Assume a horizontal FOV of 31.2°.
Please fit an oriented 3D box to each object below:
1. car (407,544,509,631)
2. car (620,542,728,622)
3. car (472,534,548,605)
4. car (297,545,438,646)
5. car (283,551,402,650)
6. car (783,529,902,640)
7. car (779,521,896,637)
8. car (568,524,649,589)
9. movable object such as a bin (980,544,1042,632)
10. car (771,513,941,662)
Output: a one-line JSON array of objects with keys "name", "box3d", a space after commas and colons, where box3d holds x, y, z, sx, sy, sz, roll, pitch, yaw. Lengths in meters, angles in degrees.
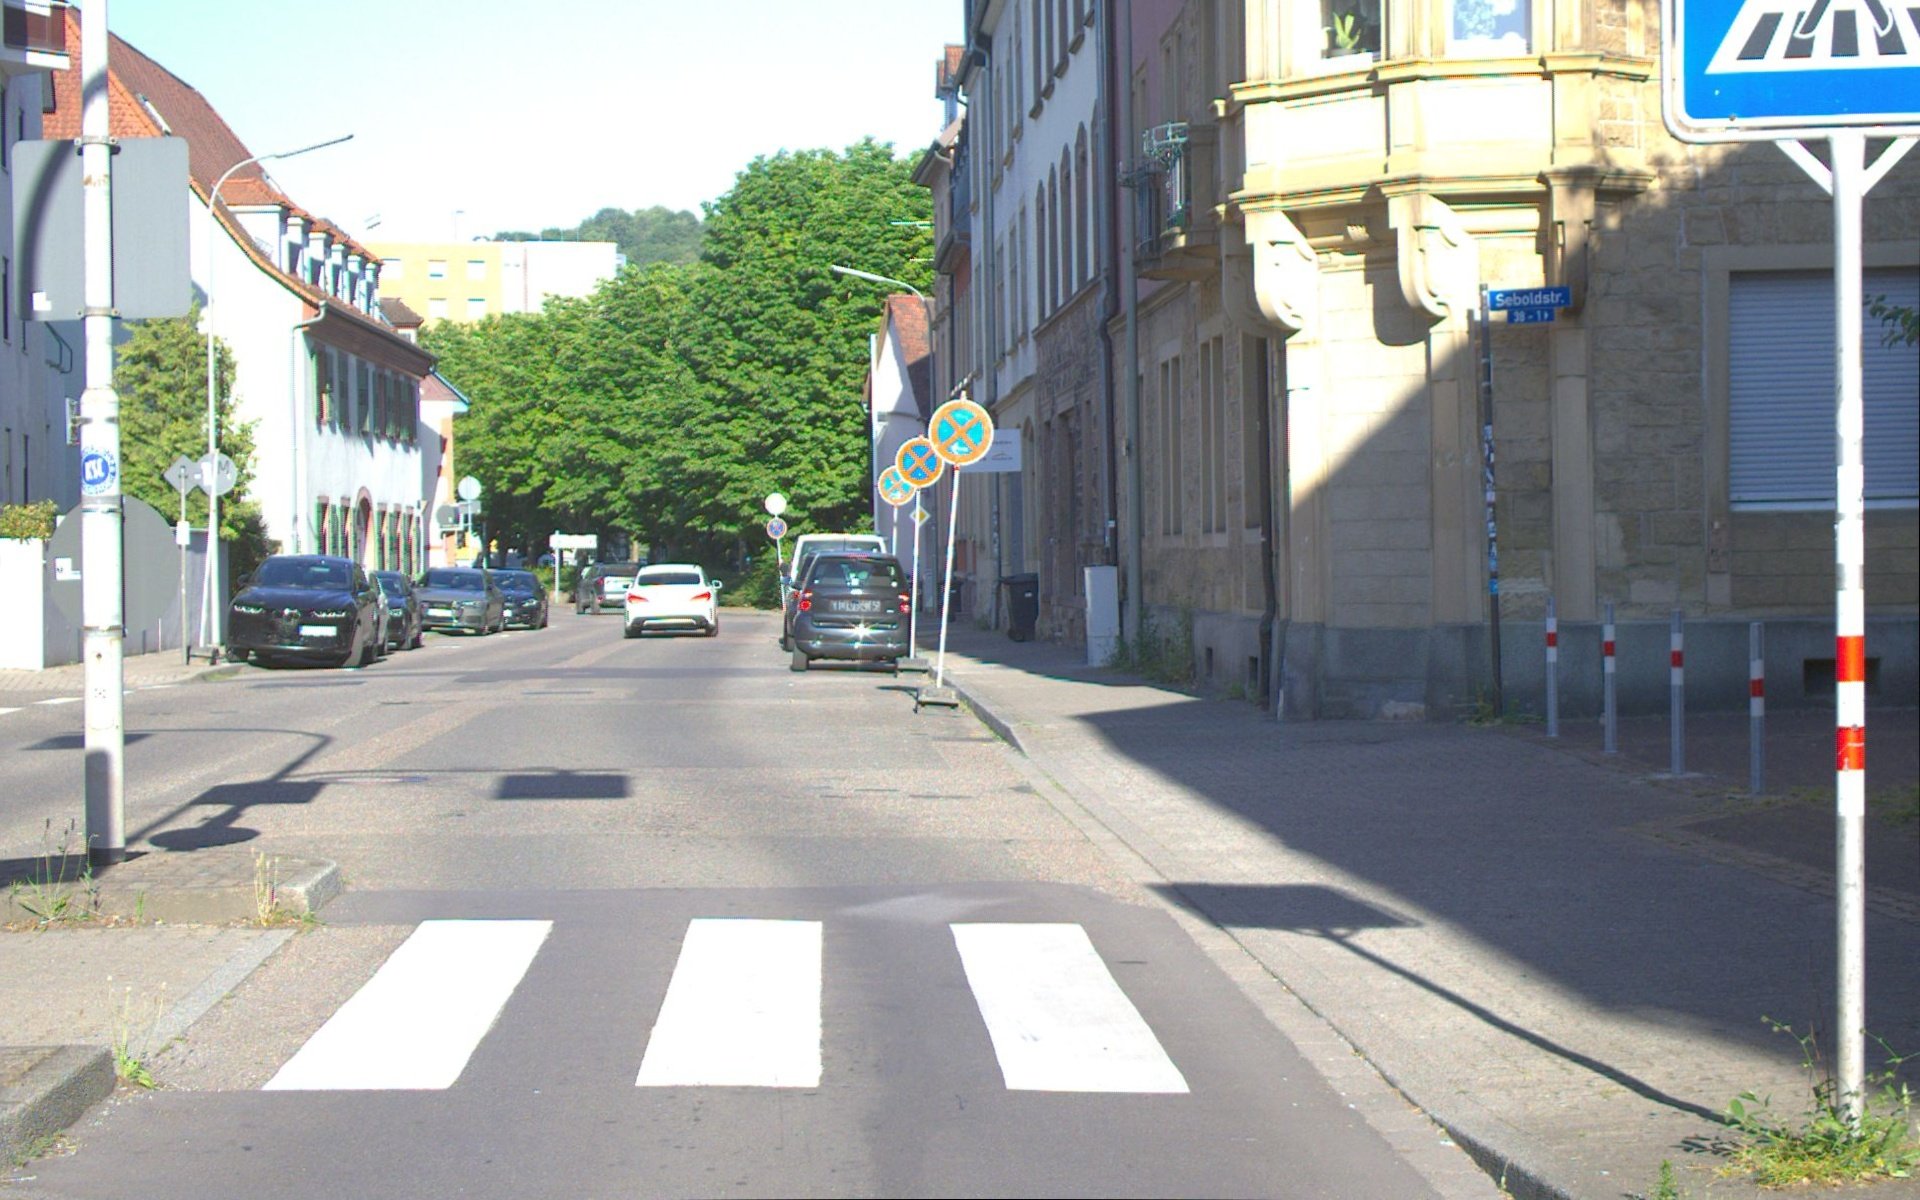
[{"name": "car", "box3d": [-11.088, -0.302, 76.168, 1.910, 1.754, 4.129, -2, 2, -4]}, {"name": "car", "box3d": [-5.621, -0.376, 67.200, 1.993, 1.461, 4.001, -2, 1, -6]}, {"name": "car", "box3d": [-11.112, -0.770, 85.091, 1.630, 1.625, 3.175, -2, 2, -4]}, {"name": "car", "box3d": [-10.620, -0.111, 61.819, 2.092, 1.625, 3.822, -2, 2, -4]}, {"name": "car", "box3d": [-10.006, -0.010, 55.893, 1.553, 1.453, 3.061, -2, 2, -4]}, {"name": "car", "box3d": [-1.891, -0.290, 56.386, 1.818, 1.625, 4.001, -2, 2, -1]}, {"name": "car", "box3d": [-2.218, -0.415, 61.298, 1.841, 1.899, 4.001, -2, 2, -4]}, {"name": "car", "box3d": [-11.344, -1.402, 110.720, 1.993, 2.007, 4.001, -2, 1, -14]}, {"name": "movable object such as a bin", "box3d": [0.822, -0.200, 55.998, 0.871, 1.373, 0.685, -3, 2, -6]}, {"name": "car", "box3d": [-1.411, -0.211, 45.029, 2.010, 1.846, 4.001, 0, 2, -5]}]
